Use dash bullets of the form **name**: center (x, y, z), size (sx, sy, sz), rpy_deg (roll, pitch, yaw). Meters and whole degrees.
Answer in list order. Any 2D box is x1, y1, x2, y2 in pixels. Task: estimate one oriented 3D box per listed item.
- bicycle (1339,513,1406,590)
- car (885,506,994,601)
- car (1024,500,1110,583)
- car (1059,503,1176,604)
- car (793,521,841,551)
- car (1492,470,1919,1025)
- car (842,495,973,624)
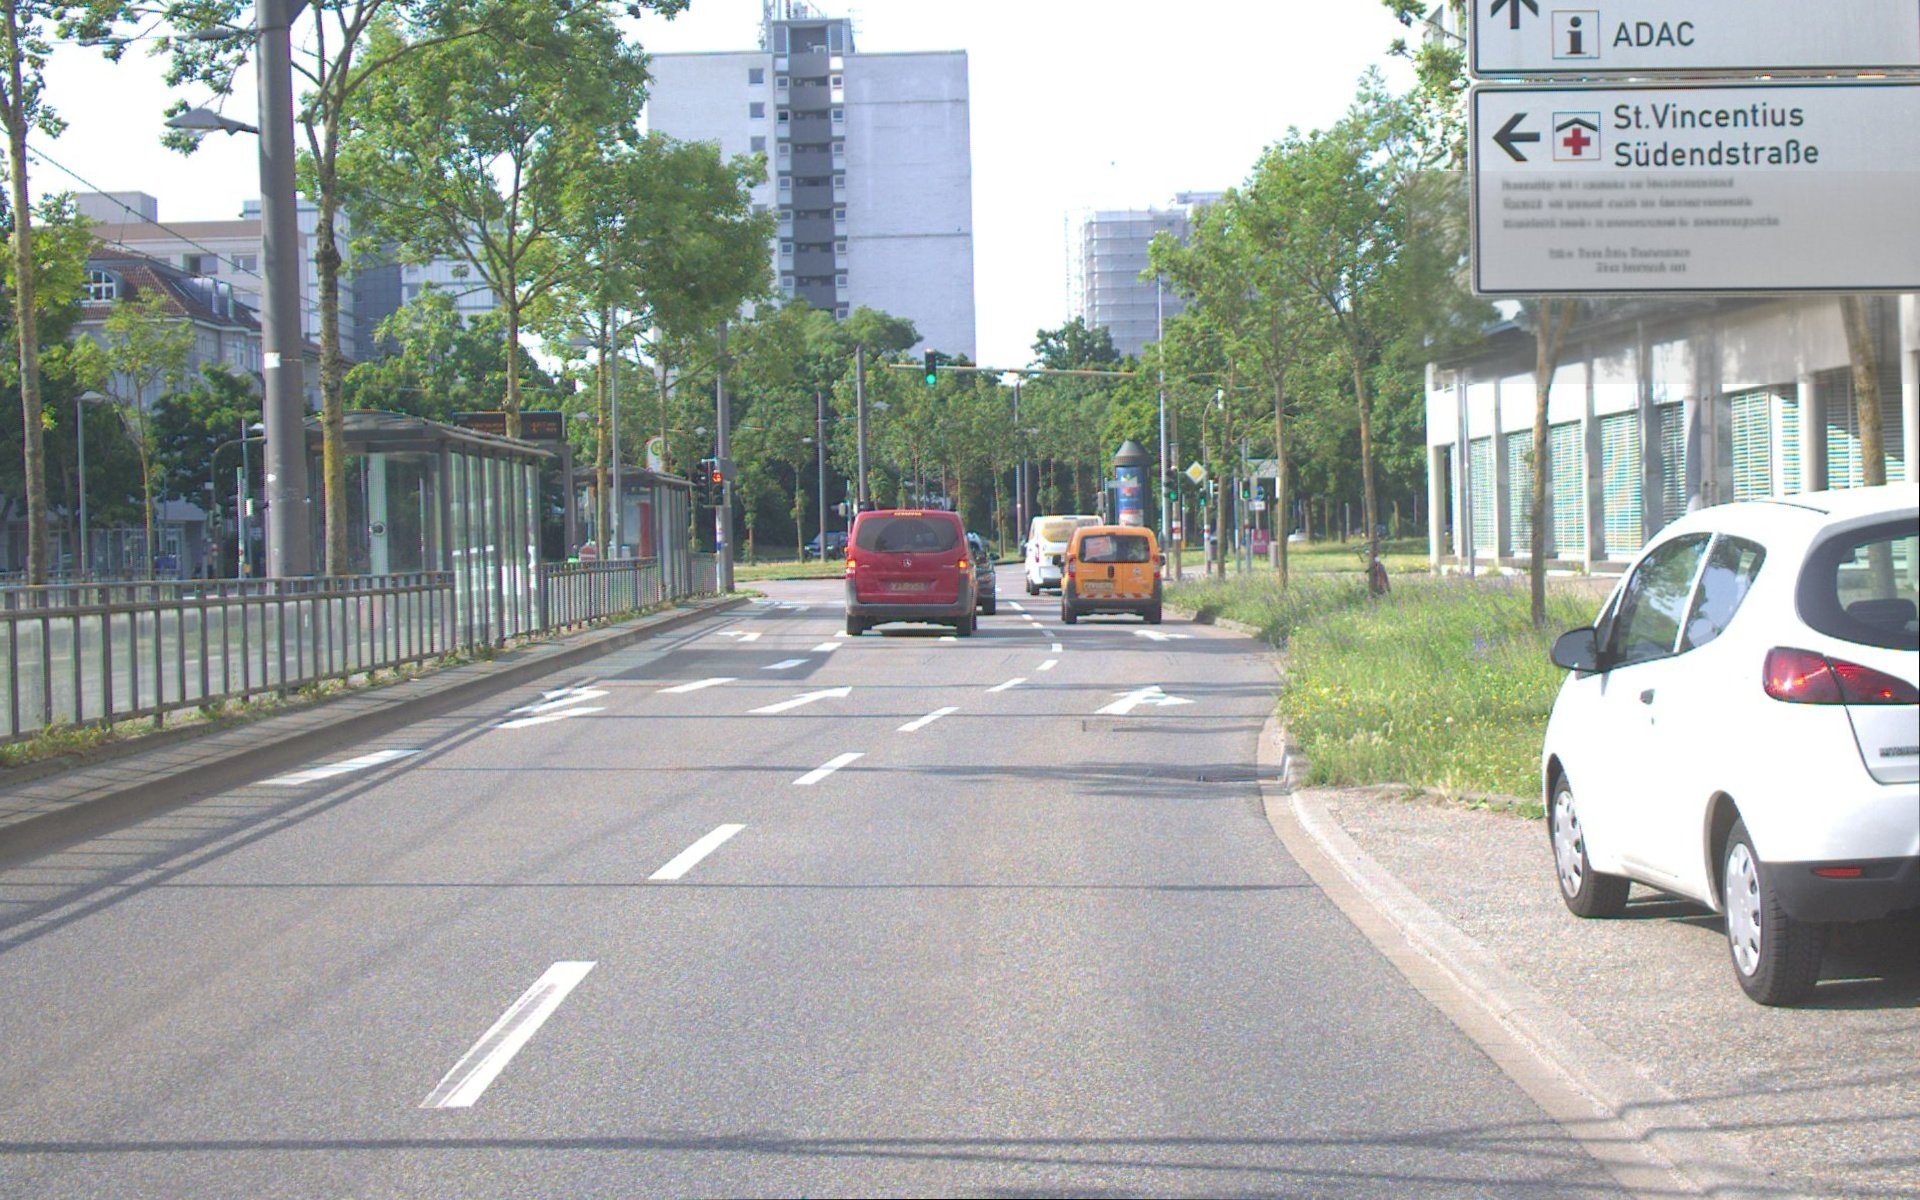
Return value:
- **bicycle**: center (5.614, -0.671, 46.862), size (0.618, 1.013, 1.880), rpy_deg (-1, 1, -1)
- **car**: center (-0.405, -0.930, 67.347), size (1.993, 1.700, 4.000), rpy_deg (-3, 1, 0)
- **car**: center (2.657, -1.470, 86.136), size (1.993, 2.007, 4.000), rpy_deg (0, 1, 0)
- **car**: center (2.742, -0.829, 60.534), size (1.875, 1.690, 3.974), rpy_deg (-1, 1, 0)
- **car**: center (-7.748, -3.468, 186.535), size (1.876, 1.568, 3.999), rpy_deg (-1, 1, 8)
- **car**: center (3.028, 0.343, 11.629), size (1.689, 1.521, 3.851), rpy_deg (-4, 1, -1)
- **car**: center (-0.814, -0.634, 52.078), size (1.874, 1.847, 4.000), rpy_deg (-1, 1, -1)
